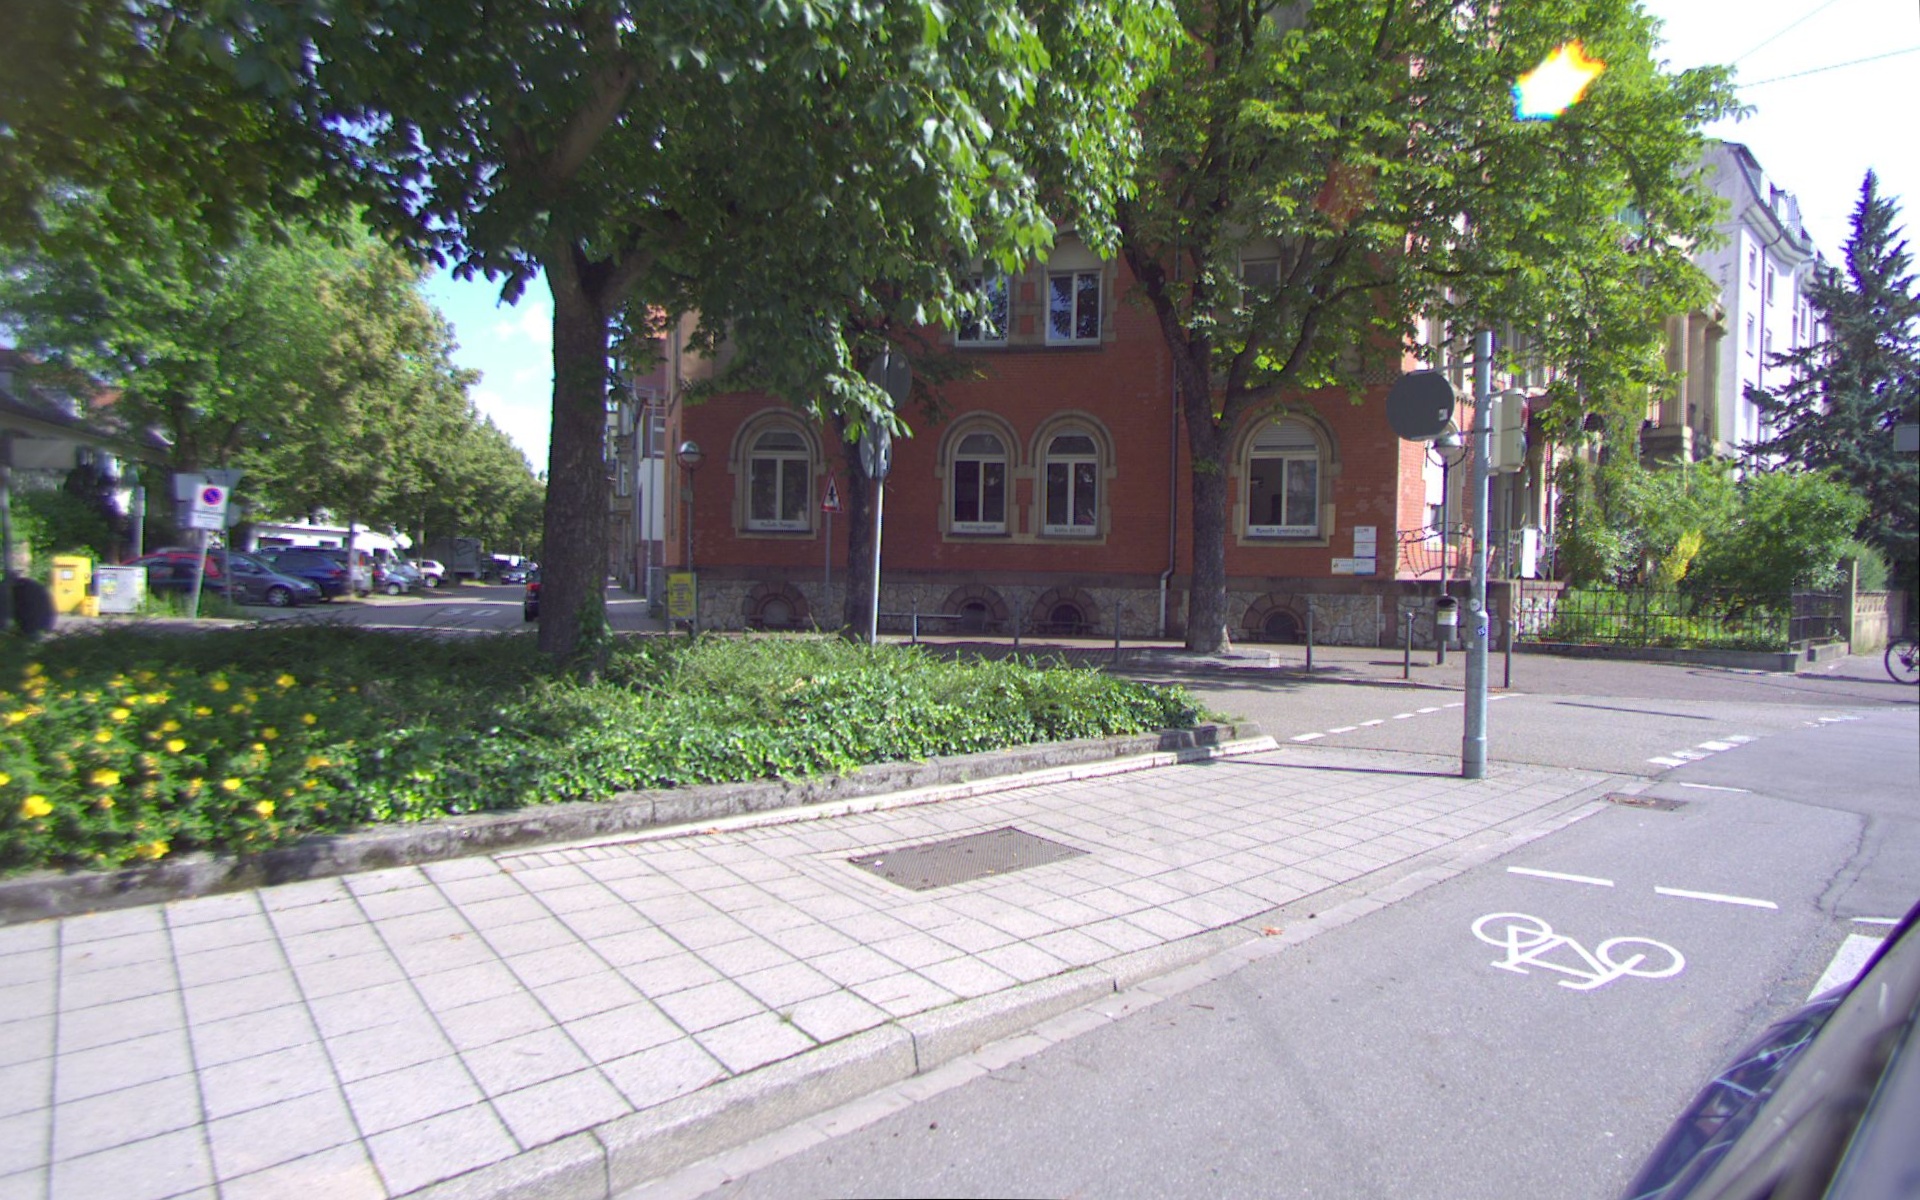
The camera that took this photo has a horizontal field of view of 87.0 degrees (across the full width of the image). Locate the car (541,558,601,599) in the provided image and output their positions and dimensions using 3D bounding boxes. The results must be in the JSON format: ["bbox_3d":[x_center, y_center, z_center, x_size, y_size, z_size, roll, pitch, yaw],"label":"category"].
[{"bbox_3d":[-15.364,-0.871,40.154,1.831,1.504,4.009,1,2,-16],"label":"car"}]

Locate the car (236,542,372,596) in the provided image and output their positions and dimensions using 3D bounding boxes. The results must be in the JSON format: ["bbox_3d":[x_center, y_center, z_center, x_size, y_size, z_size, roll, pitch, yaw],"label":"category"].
[{"bbox_3d":[-24.038,-1.131,37.256,3.916,1.883,1.852,0,2,-21],"label":"car"}]

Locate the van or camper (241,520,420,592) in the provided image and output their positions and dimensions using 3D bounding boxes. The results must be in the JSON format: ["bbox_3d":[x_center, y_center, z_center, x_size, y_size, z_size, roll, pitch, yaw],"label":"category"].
[{"bbox_3d":[-28.731,-1.977,46.522,6.690,3.076,2.127,0,1,-21],"label":"van or camper"}]

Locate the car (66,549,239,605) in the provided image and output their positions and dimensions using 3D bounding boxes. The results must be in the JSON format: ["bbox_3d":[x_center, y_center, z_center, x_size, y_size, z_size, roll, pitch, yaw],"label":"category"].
[{"bbox_3d":[-21.688,-0.609,27.323,3.342,1.440,1.566,0,1,-23],"label":"car"}]

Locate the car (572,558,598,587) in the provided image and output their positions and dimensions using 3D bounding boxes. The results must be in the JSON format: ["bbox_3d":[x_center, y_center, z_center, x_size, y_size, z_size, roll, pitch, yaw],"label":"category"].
[{"bbox_3d":[-27.307,-1.978,73.701,1.702,1.950,3.949,-1,0,-20],"label":"car"}]

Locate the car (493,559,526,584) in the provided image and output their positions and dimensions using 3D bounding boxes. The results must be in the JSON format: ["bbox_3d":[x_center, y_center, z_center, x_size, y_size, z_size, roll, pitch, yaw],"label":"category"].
[{"bbox_3d":[-32.583,-2.036,73.238,1.896,1.754,3.838,-1,0,-20],"label":"car"}]

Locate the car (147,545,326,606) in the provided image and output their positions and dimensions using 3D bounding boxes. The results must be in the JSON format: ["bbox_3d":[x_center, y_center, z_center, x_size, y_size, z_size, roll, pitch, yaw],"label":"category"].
[{"bbox_3d":[-21.574,-0.722,30.372,4.040,1.705,1.856,0,1,-22],"label":"car"}]

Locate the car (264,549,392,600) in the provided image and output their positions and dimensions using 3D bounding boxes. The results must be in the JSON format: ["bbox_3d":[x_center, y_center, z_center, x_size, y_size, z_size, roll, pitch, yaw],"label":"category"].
[{"bbox_3d":[-24.973,-1.002,40.143,3.915,1.905,2.005,1,1,-17],"label":"car"}]

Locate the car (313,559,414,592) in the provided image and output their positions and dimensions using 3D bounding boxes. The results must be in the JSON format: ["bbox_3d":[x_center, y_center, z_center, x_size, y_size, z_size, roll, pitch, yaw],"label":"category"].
[{"bbox_3d":[-26.275,-1.082,44.671,3.588,1.415,1.537,0,1,-19],"label":"car"}]

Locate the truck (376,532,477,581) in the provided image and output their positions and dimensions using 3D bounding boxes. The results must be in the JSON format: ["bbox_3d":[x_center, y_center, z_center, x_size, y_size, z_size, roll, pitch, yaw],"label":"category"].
[{"bbox_3d":[-33.837,-2.758,64.359,5.437,2.970,2.005,0,1,-19],"label":"truck"}]

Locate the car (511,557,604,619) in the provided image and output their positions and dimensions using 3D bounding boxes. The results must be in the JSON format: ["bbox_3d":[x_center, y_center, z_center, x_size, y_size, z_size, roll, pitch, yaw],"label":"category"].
[{"bbox_3d":[-10.681,-0.361,27.129,1.896,1.504,4.009,1,2,-16],"label":"car"}]

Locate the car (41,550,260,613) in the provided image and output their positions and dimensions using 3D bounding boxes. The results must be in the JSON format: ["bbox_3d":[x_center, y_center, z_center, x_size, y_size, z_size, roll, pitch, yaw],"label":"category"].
[{"bbox_3d":[-20.055,-0.460,25.291,3.916,1.460,1.807,0,2,-22],"label":"car"}]

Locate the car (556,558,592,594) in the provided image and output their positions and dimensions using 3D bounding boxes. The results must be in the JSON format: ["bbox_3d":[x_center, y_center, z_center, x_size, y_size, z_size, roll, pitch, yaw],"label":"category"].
[{"bbox_3d":[-20.741,-1.297,54.450,1.690,1.860,3.676,1,2,-20],"label":"car"}]

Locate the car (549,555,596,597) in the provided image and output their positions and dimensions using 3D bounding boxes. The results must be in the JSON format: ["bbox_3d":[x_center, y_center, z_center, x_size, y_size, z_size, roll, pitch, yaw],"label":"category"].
[{"bbox_3d":[-17.086,-1.071,44.753,1.689,1.727,4.010,1,2,-18],"label":"car"}]

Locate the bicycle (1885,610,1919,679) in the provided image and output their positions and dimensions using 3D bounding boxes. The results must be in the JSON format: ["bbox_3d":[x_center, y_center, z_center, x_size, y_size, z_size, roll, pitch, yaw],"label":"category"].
[{"bbox_3d":[15.574,0.717,15.787,1.812,1.048,0.389,2,1,4],"label":"bicycle"}]

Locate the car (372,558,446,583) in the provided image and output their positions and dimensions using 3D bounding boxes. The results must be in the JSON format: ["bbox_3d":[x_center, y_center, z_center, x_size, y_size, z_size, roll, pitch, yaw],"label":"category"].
[{"bbox_3d":[-31.851,-1.699,58.571,3.526,1.416,1.539,-1,0,-18],"label":"car"}]

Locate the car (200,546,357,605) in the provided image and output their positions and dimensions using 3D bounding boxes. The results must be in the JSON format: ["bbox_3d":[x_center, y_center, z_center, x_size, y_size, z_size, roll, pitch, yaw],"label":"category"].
[{"bbox_3d":[-22.172,-0.781,33.107,3.916,1.816,1.983,1,1,-21],"label":"car"}]
